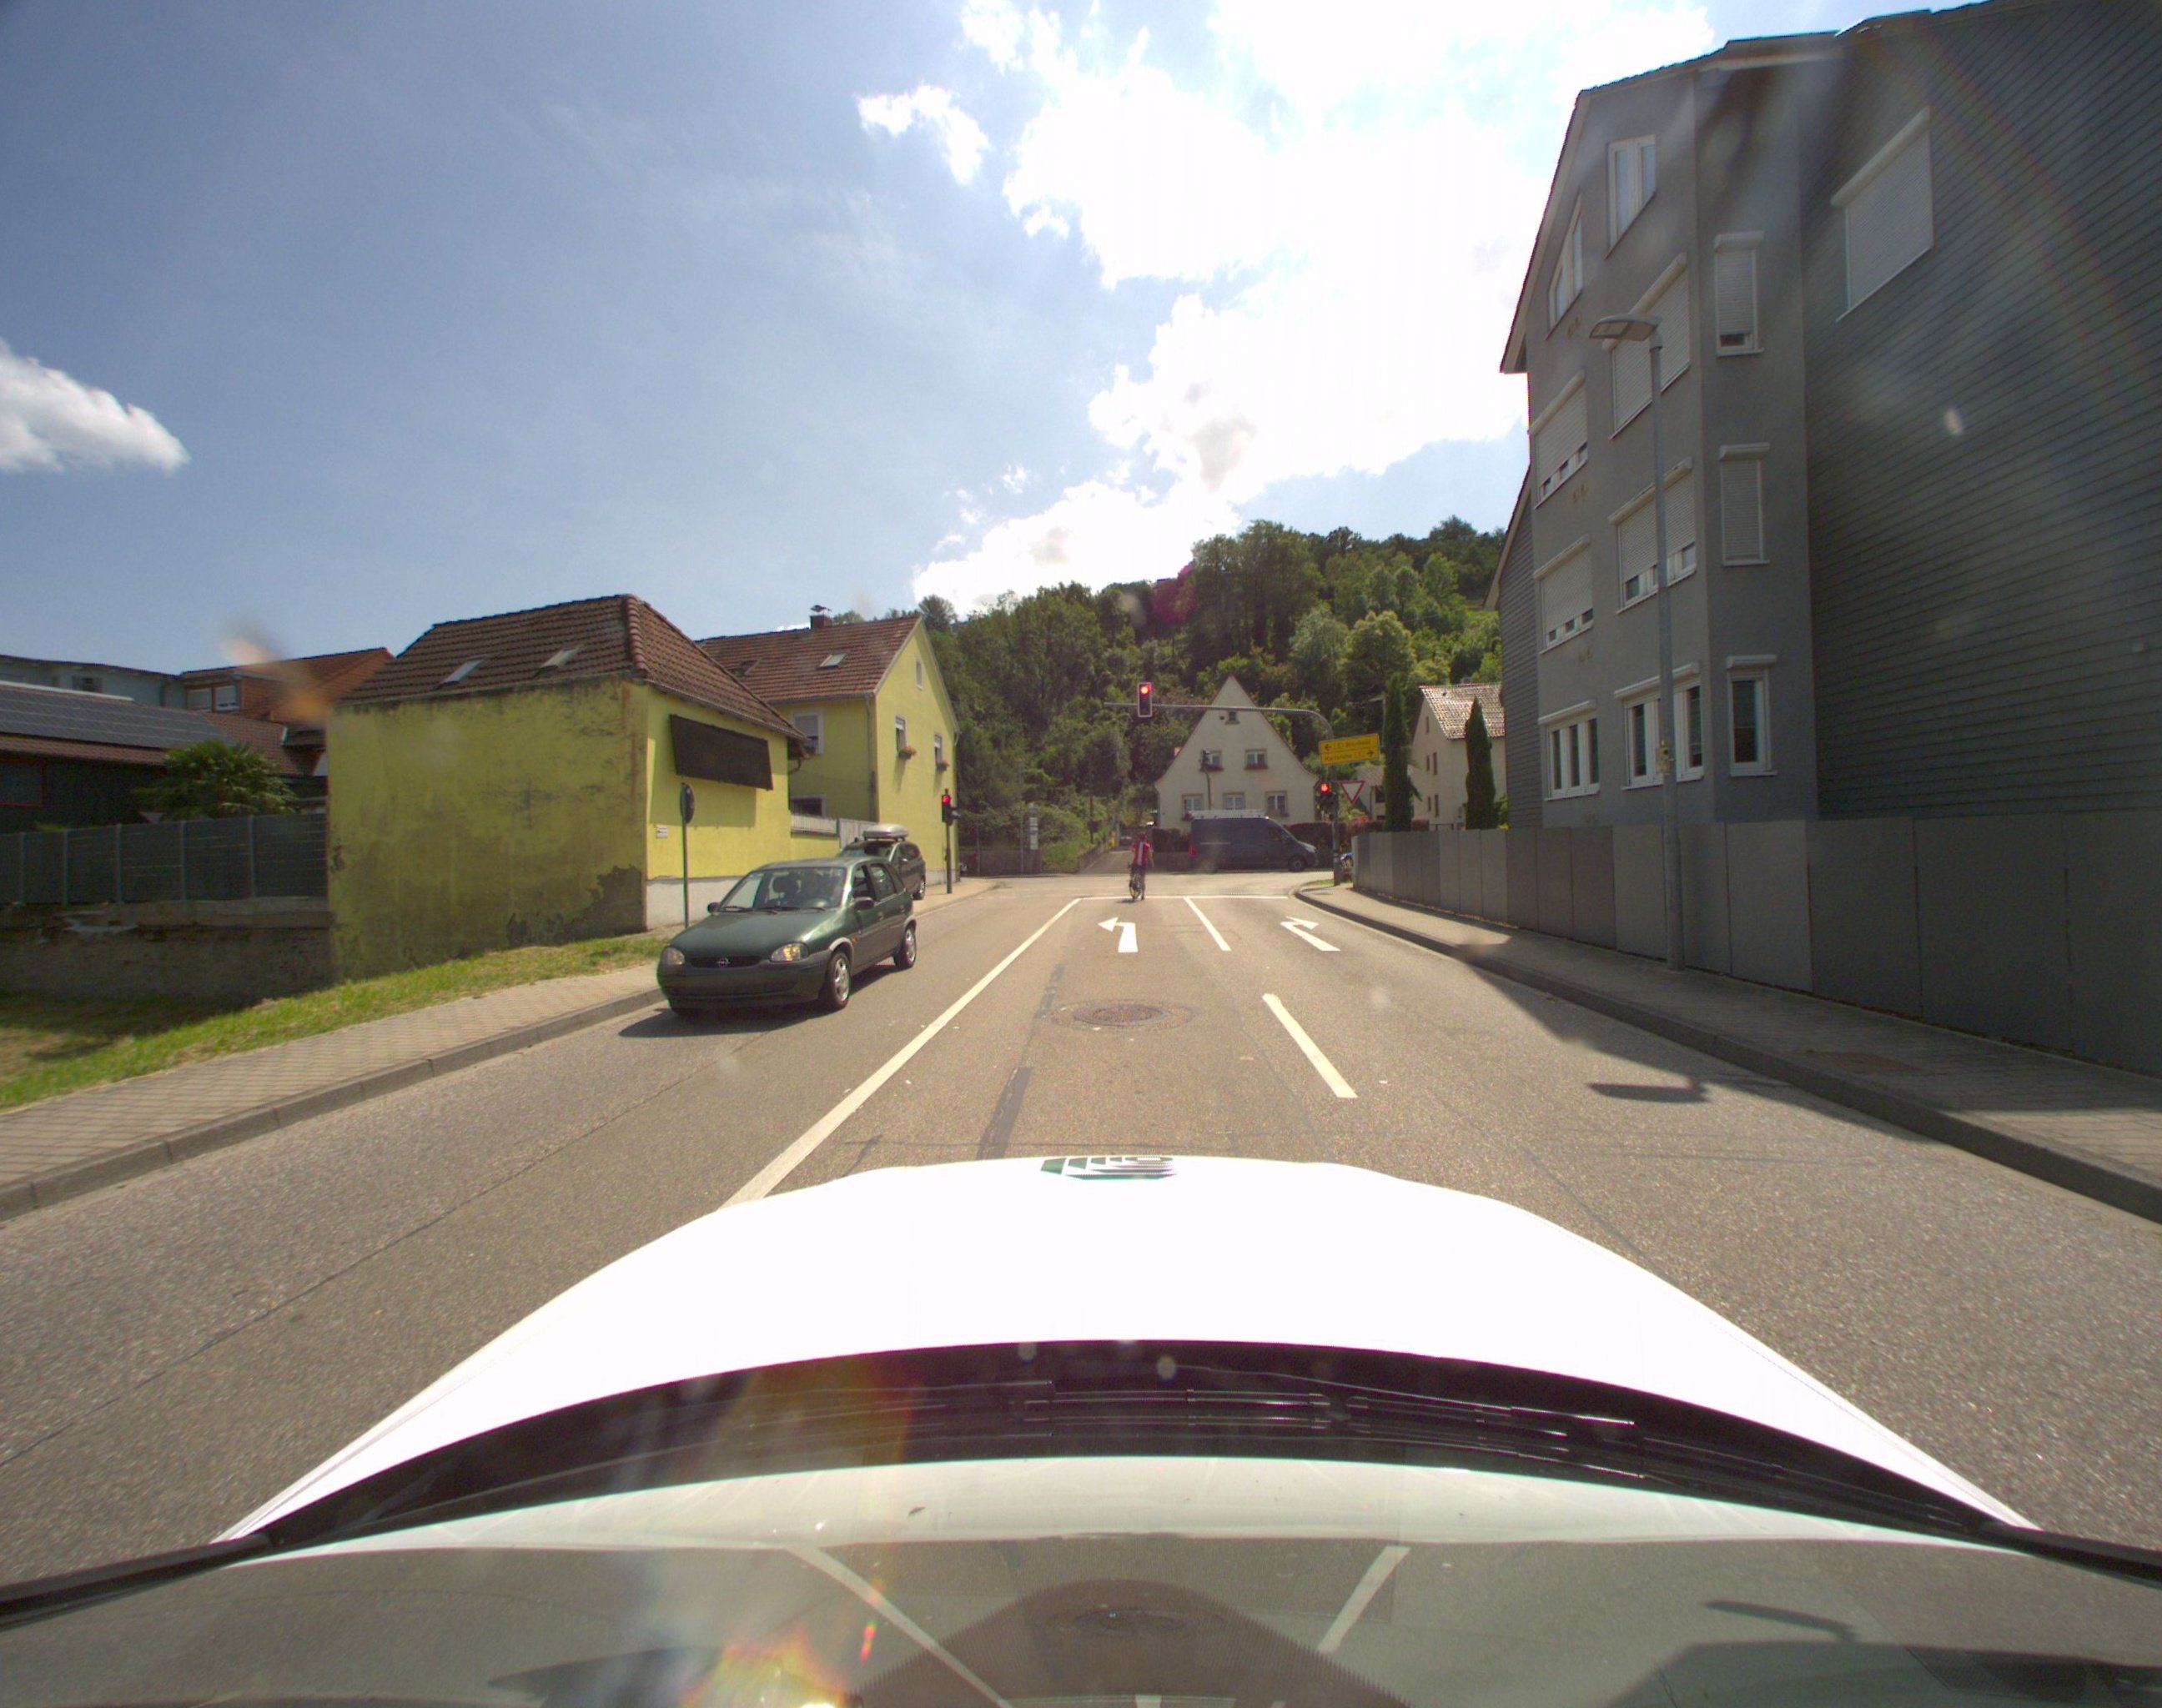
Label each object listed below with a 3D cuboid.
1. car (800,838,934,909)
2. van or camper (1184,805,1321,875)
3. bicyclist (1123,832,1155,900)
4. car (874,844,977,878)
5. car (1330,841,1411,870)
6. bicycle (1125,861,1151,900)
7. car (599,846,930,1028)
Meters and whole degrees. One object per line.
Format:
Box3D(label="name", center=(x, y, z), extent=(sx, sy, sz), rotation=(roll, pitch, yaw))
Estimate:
Box3D(label="car", center=(-5.409, 0.423, 21.268), extent=(1.985, 1.635, 4.635), rotation=(0, 1, 4))
Box3D(label="van or camper", center=(7.909, -0.630, 37.725), extent=(5.953, 3.004, 2.225), rotation=(-1, 0, 11))
Box3D(label="bicyclist", center=(1.448, 0.283, 20.387), extent=(0.757, 1.664, 0.869), rotation=(0, 0, 4))
Box3D(label="car", center=(-7.760, 0.358, 40.836), extent=(4.626, 1.442, 1.875), rotation=(-3, 0, 10))
Box3D(label="car", center=(14.469, 0.073, 40.849), extent=(3.588, 1.363, 1.648), rotation=(-1, -2, 8))
Box3D(label="bicycle", center=(1.436, 0.634, 20.410), extent=(0.627, 0.905, 1.659), rotation=(0, 0, 4))
Box3D(label="car", center=(-3.017, 0.684, 8.762), extent=(1.772, 1.433, 3.876), rotation=(-3, 0, 4))
